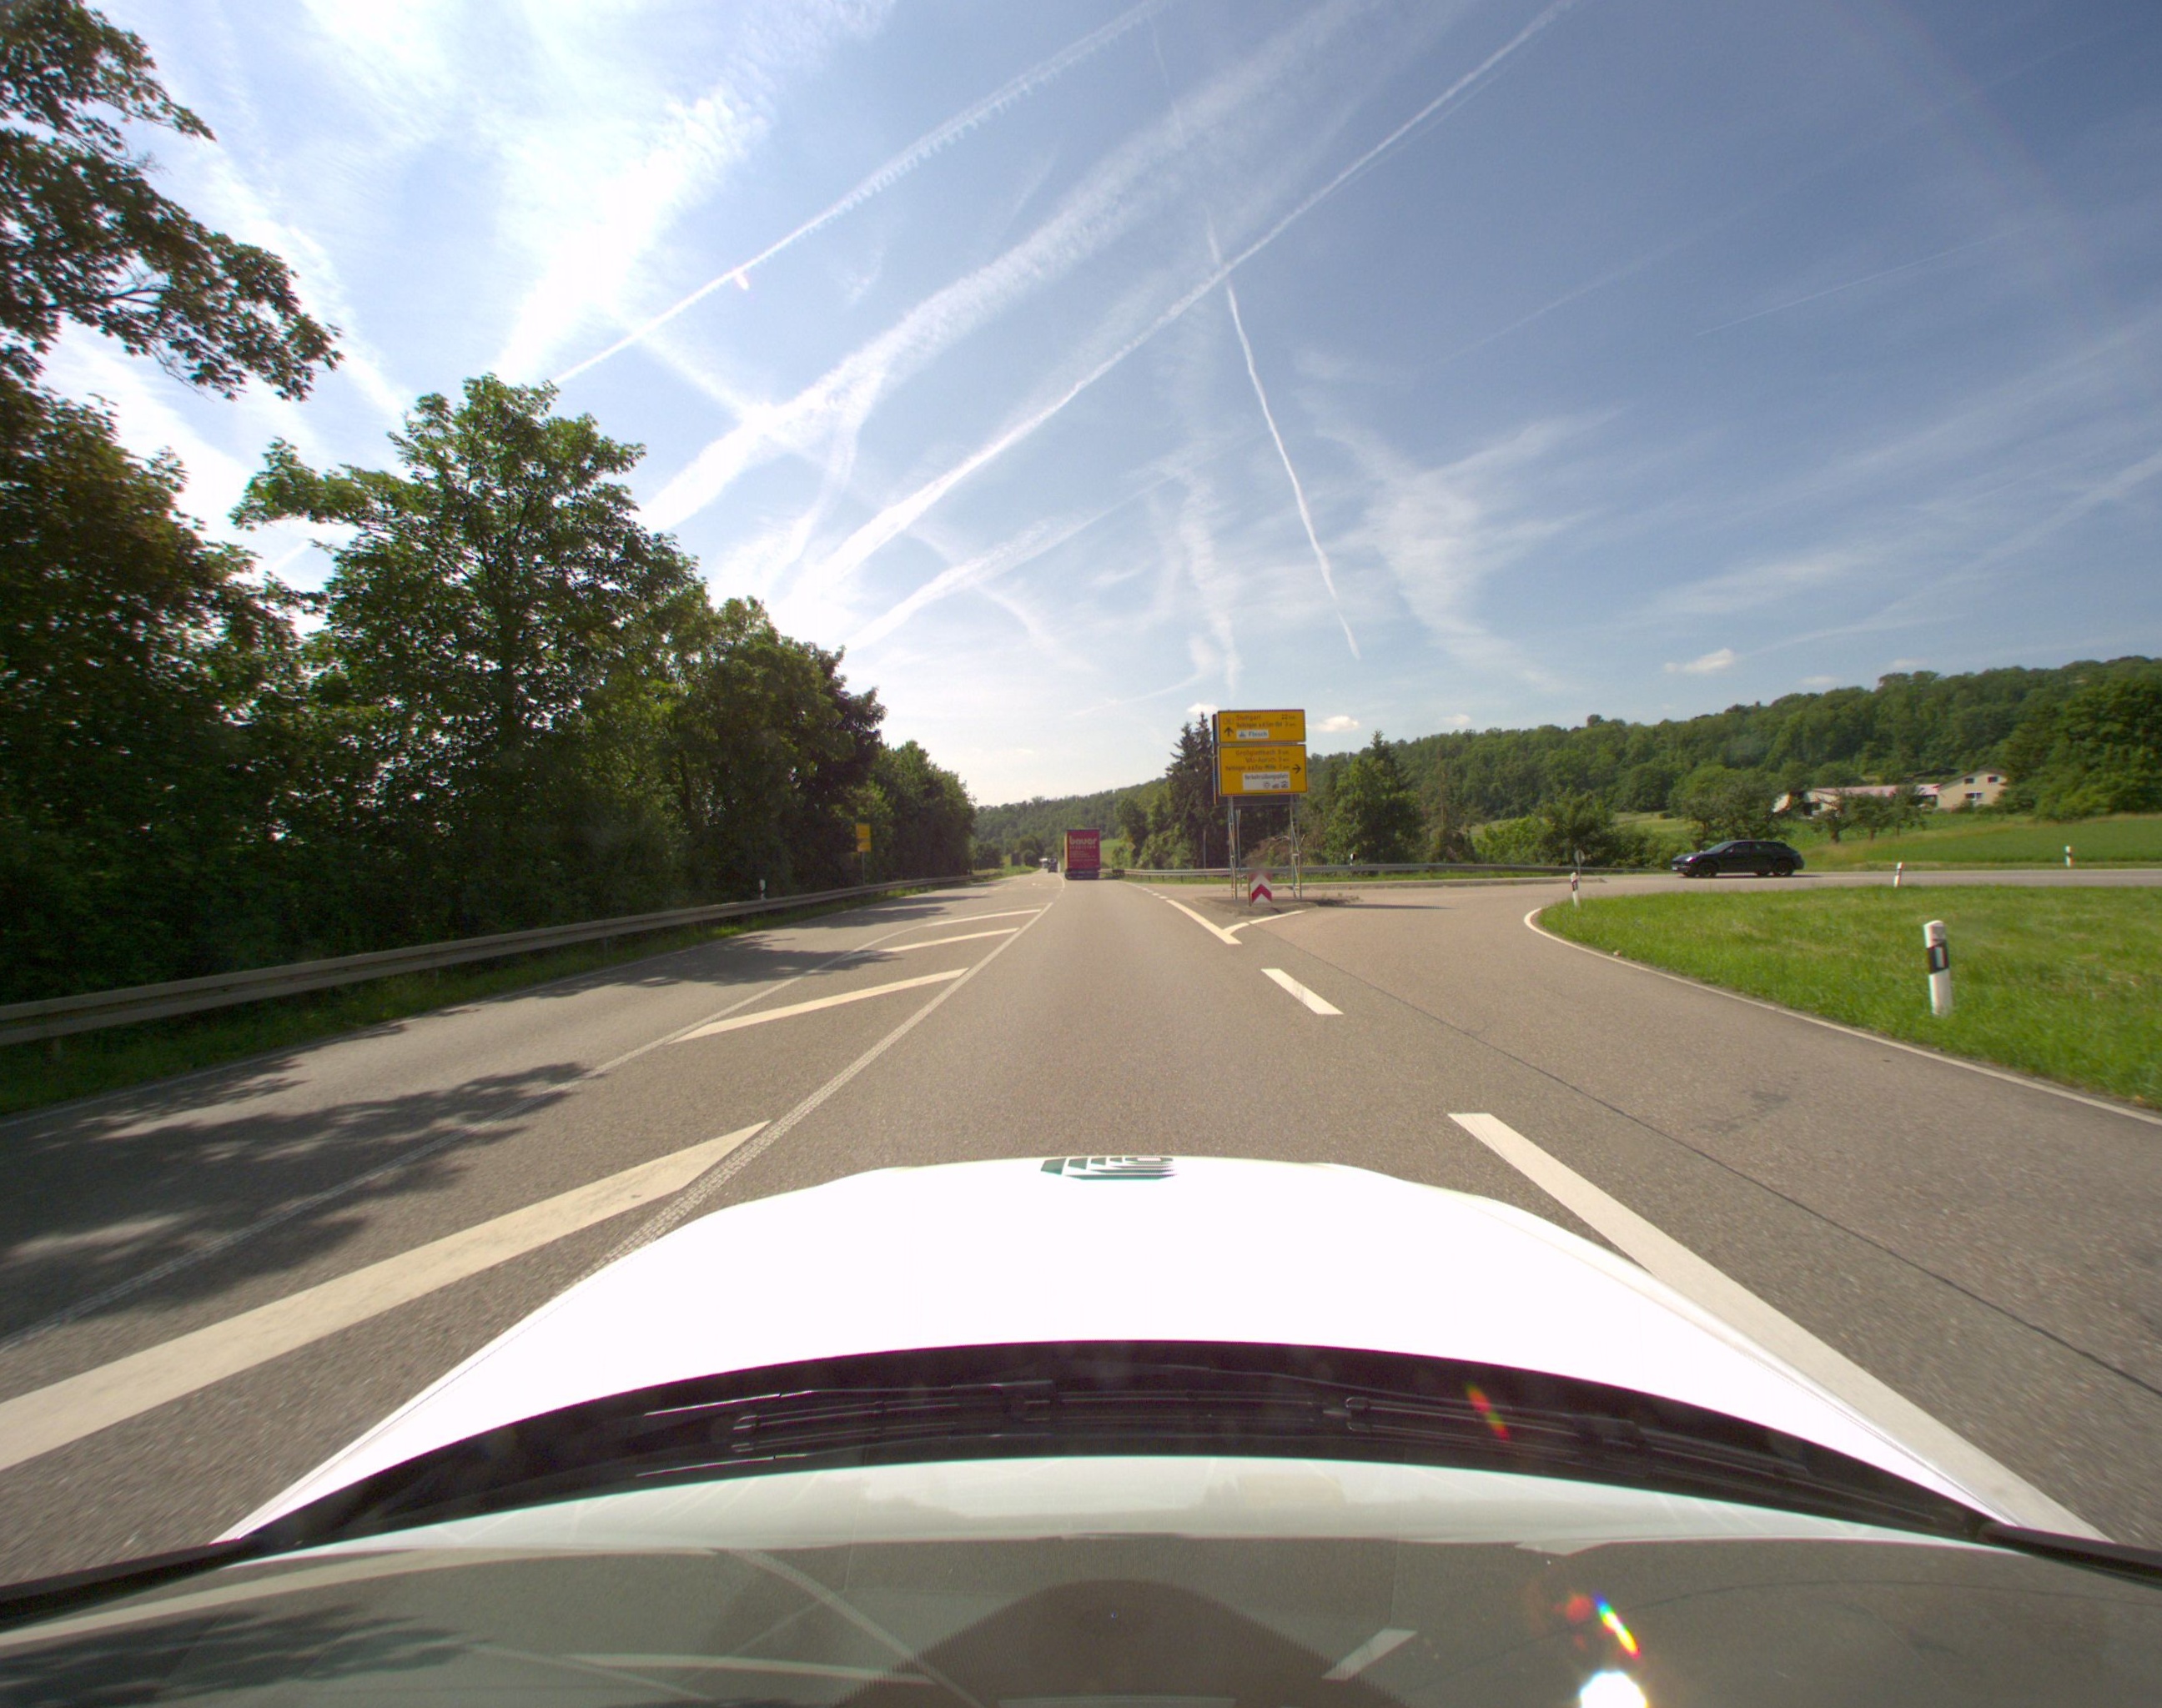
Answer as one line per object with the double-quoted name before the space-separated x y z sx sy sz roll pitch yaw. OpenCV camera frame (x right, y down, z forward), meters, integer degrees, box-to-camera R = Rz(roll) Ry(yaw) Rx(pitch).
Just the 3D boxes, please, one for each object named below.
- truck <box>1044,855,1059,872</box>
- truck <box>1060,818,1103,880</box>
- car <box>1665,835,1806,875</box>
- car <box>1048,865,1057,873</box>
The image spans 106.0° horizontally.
"truck" -7.812 2.565 215.350 3.896 4.370 13.277 0 -1 -3
"truck" -0.118 -0.304 68.679 3.163 4.625 13.534 -2 -1 -1
"car" 28.757 0.061 35.972 4.379 1.590 2.074 -2 -1 18
"car" -6.508 3.361 184.062 1.989 1.810 3.995 1 -1 -3
